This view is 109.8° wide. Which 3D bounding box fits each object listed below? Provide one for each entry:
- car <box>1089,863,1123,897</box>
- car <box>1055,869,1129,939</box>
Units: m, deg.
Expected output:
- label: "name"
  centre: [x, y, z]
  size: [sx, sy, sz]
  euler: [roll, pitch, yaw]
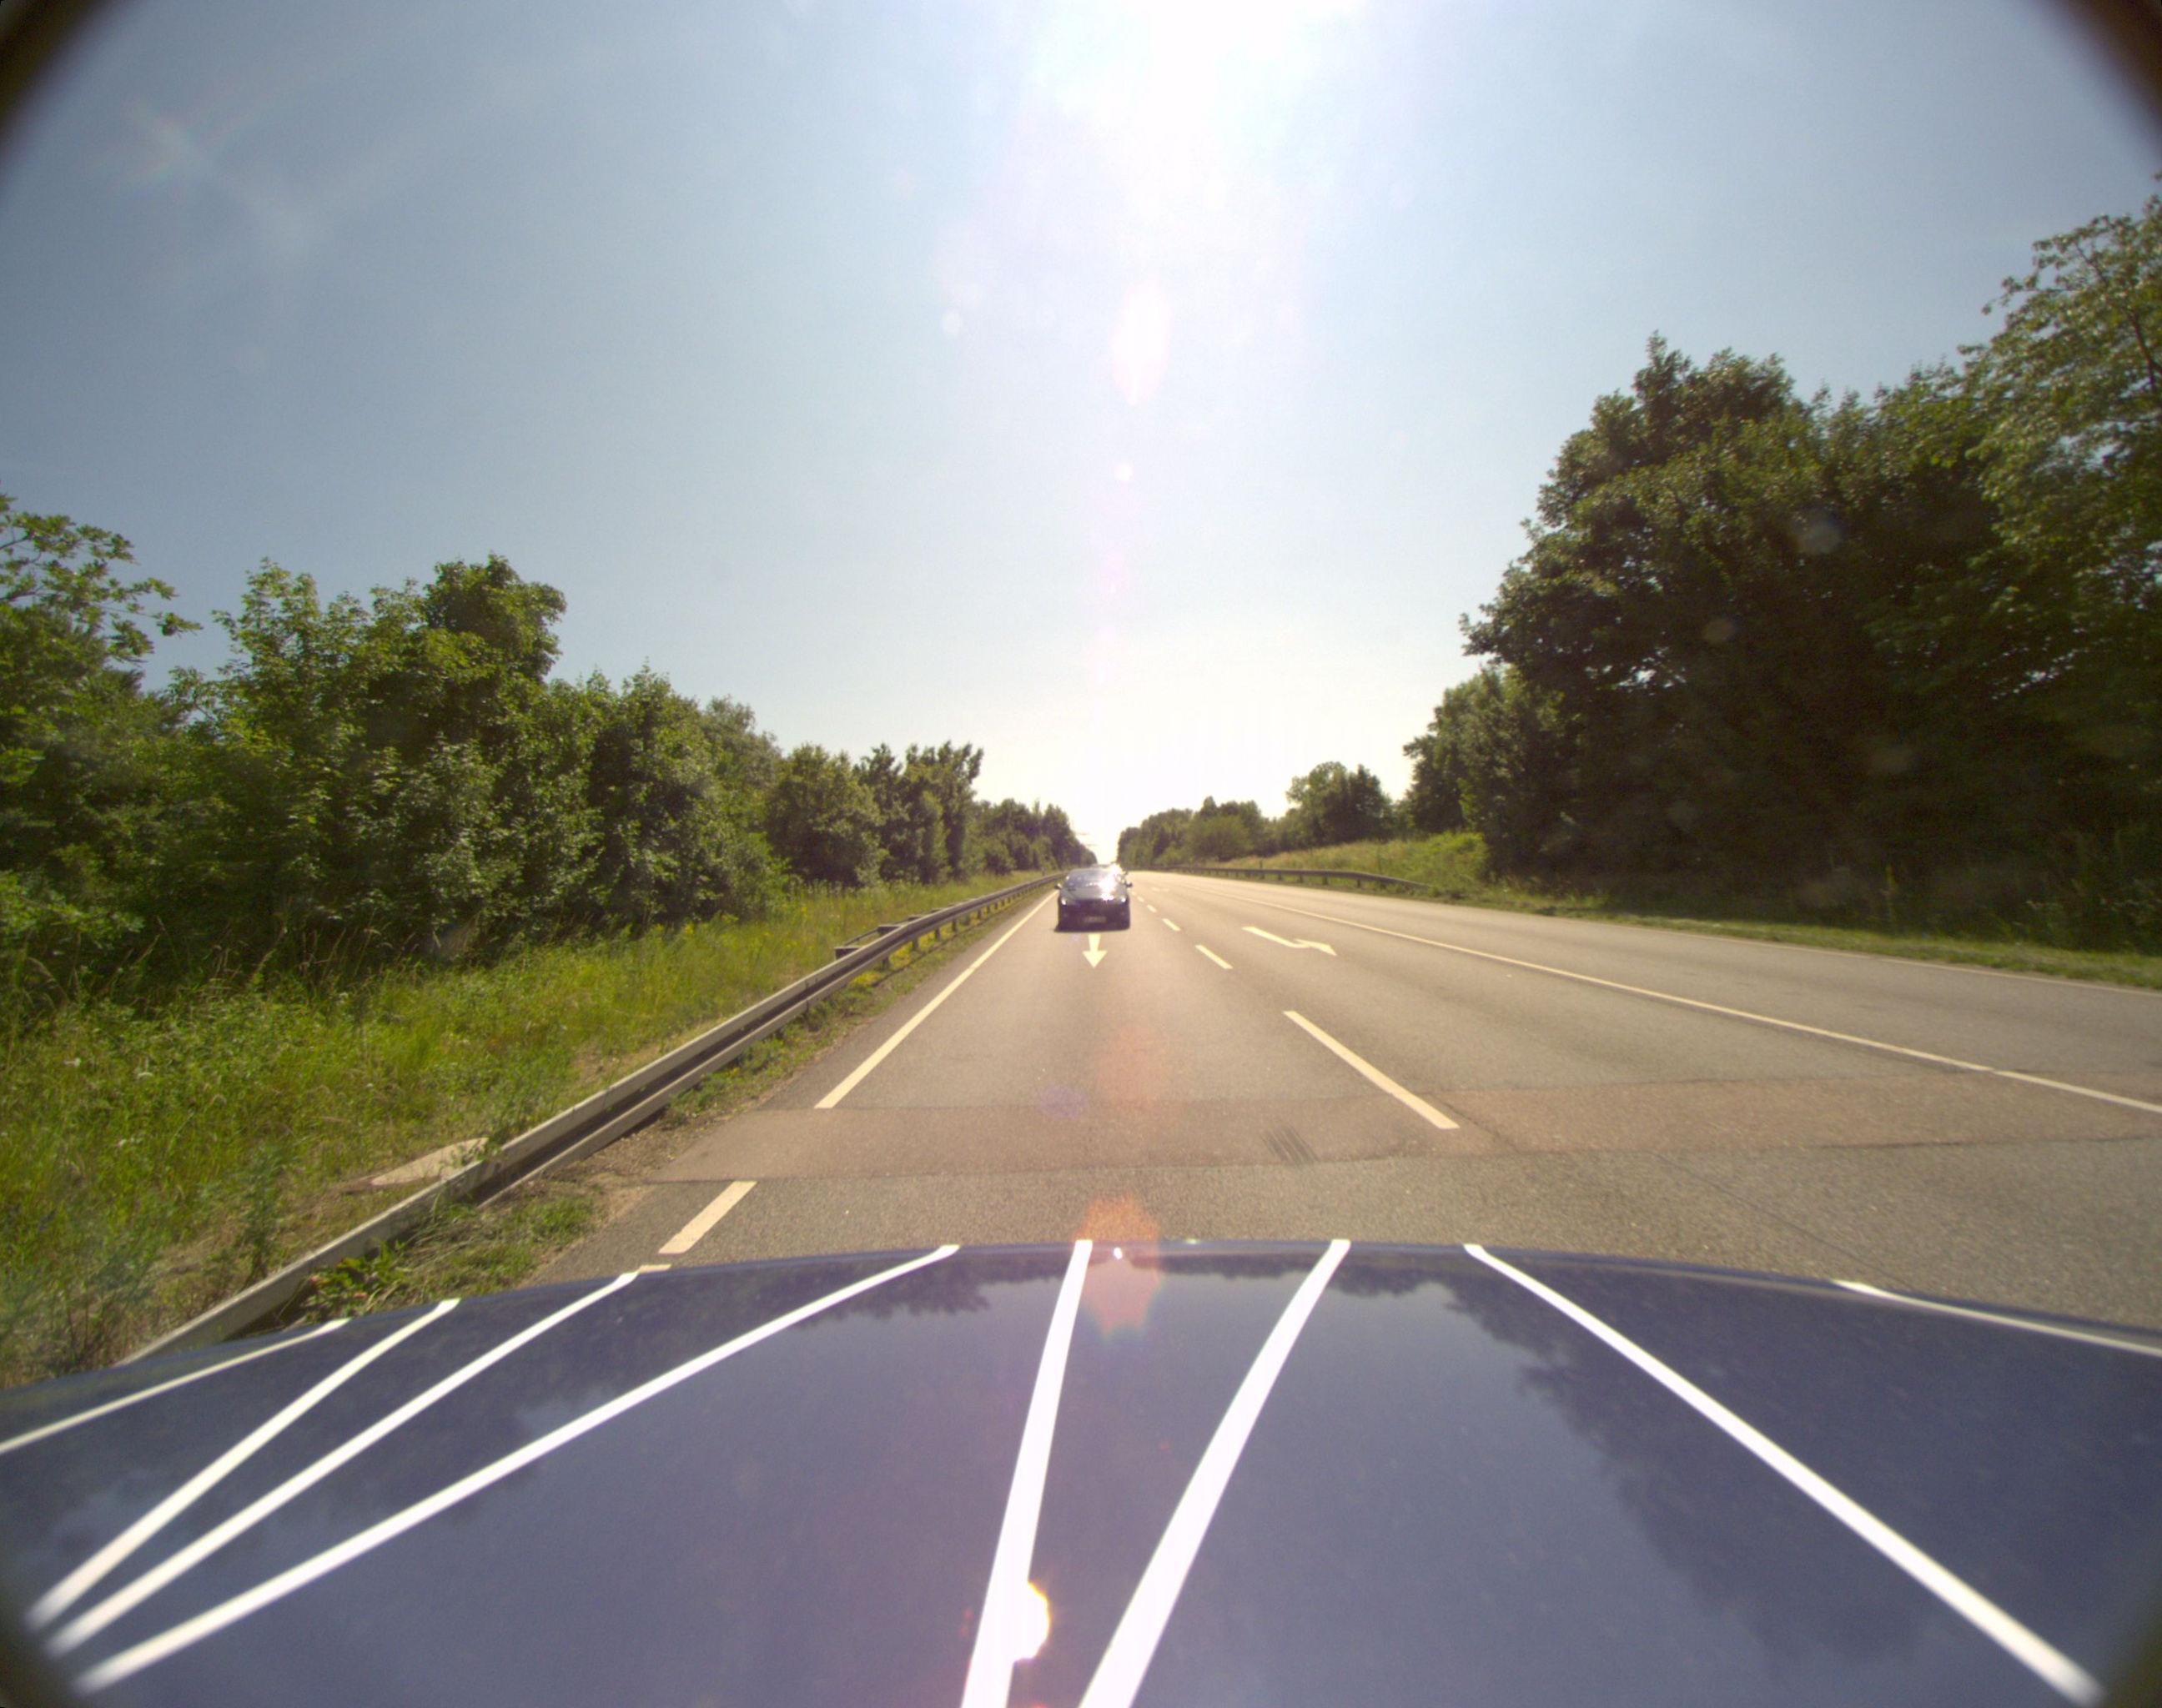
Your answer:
- label: "car"
  centre: [1.112, 1.173, 34.922]
  size: [1.443, 1.442, 3.299]
  euler: [-2, -1, 0]
- label: "car"
  centre: [0.290, 1.088, 17.815]
  size: [1.529, 1.387, 3.444]
  euler: [-1, 0, 2]
